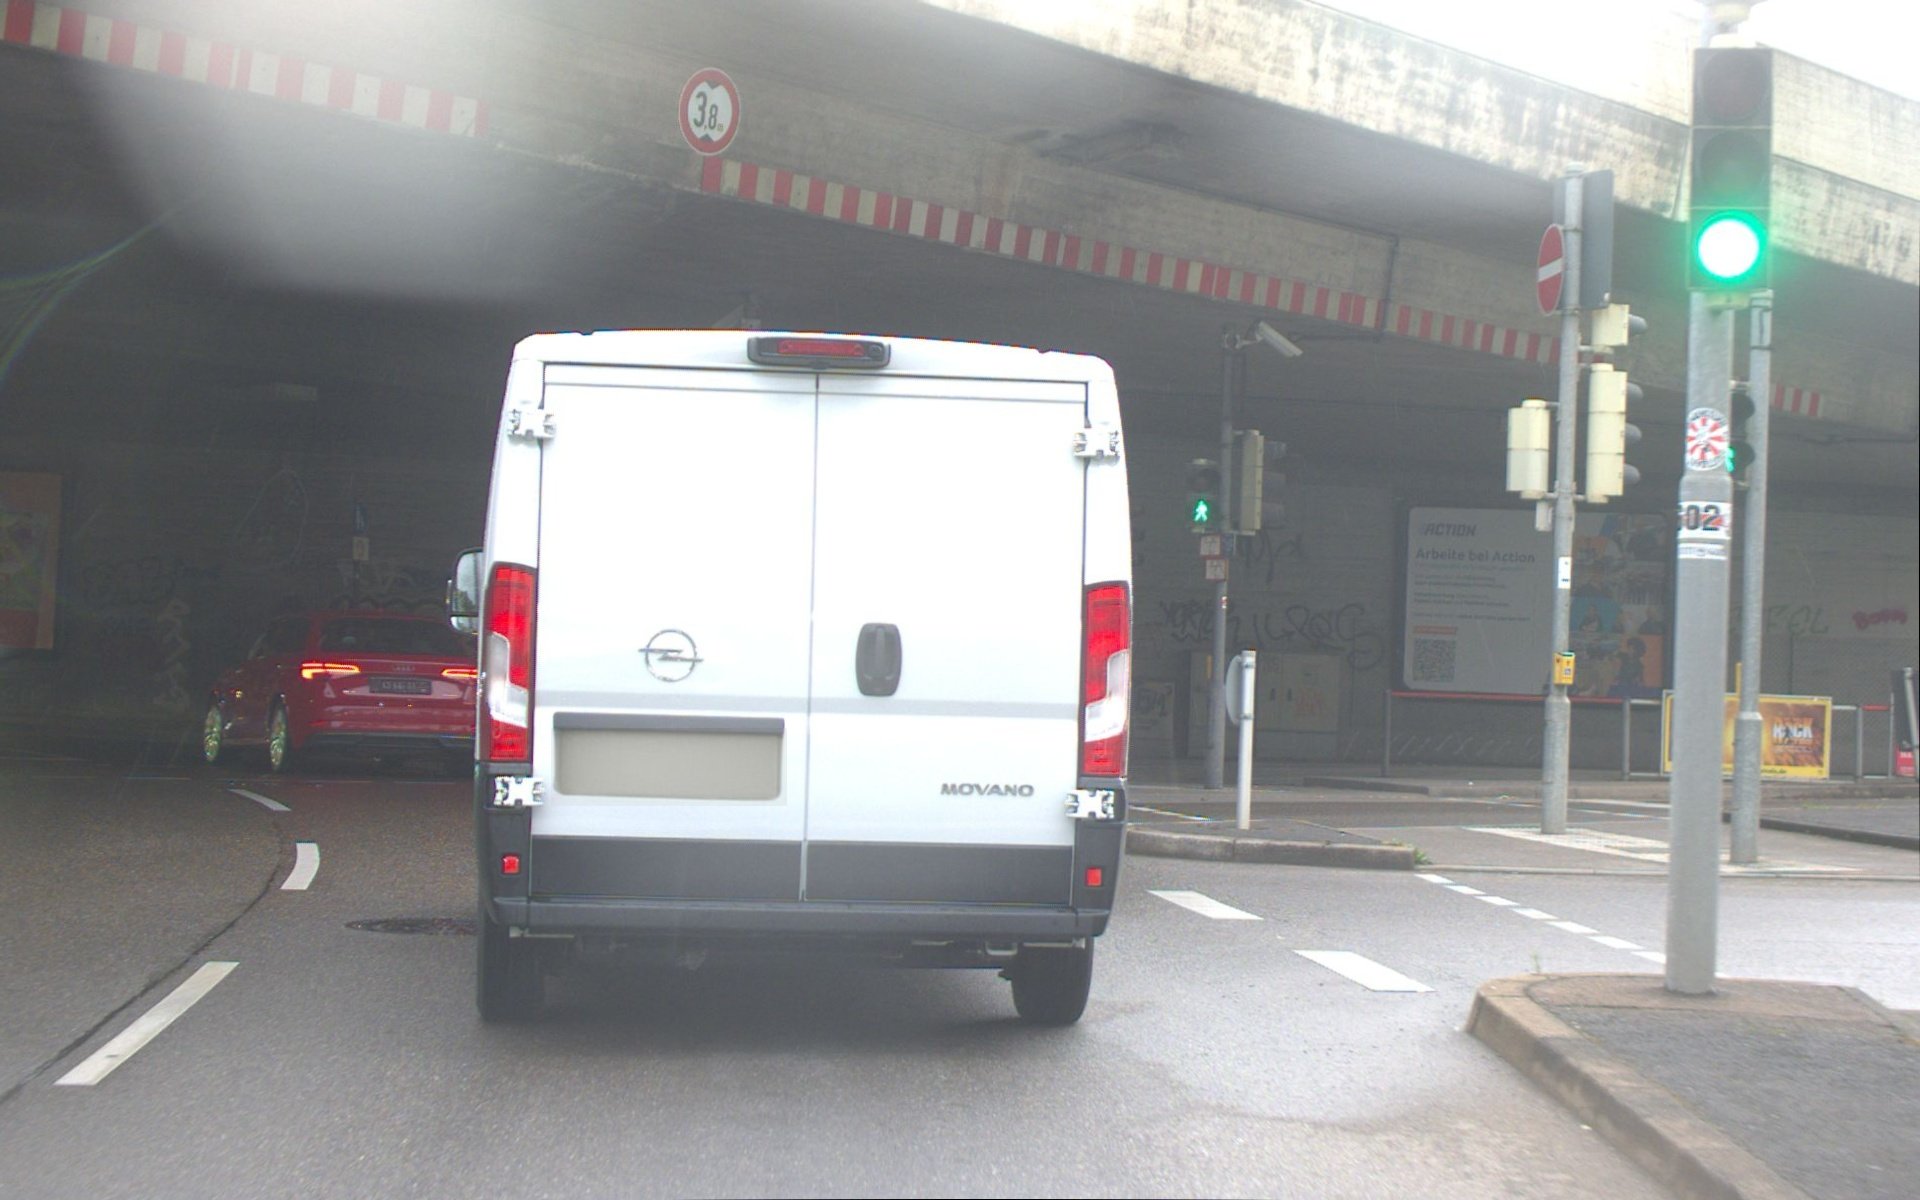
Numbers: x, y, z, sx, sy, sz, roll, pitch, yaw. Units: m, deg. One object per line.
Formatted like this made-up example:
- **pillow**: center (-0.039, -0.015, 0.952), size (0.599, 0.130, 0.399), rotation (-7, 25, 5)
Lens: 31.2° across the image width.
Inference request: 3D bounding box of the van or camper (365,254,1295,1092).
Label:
- **van or camper**: center (-0.697, 0.206, 12.724), size (2.698, 2.408, 4.904), rotation (2, 0, -8)

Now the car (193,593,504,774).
- **car**: center (-5.423, 0.708, 30.101), size (1.835, 1.433, 4.104), rotation (3, -1, -22)
